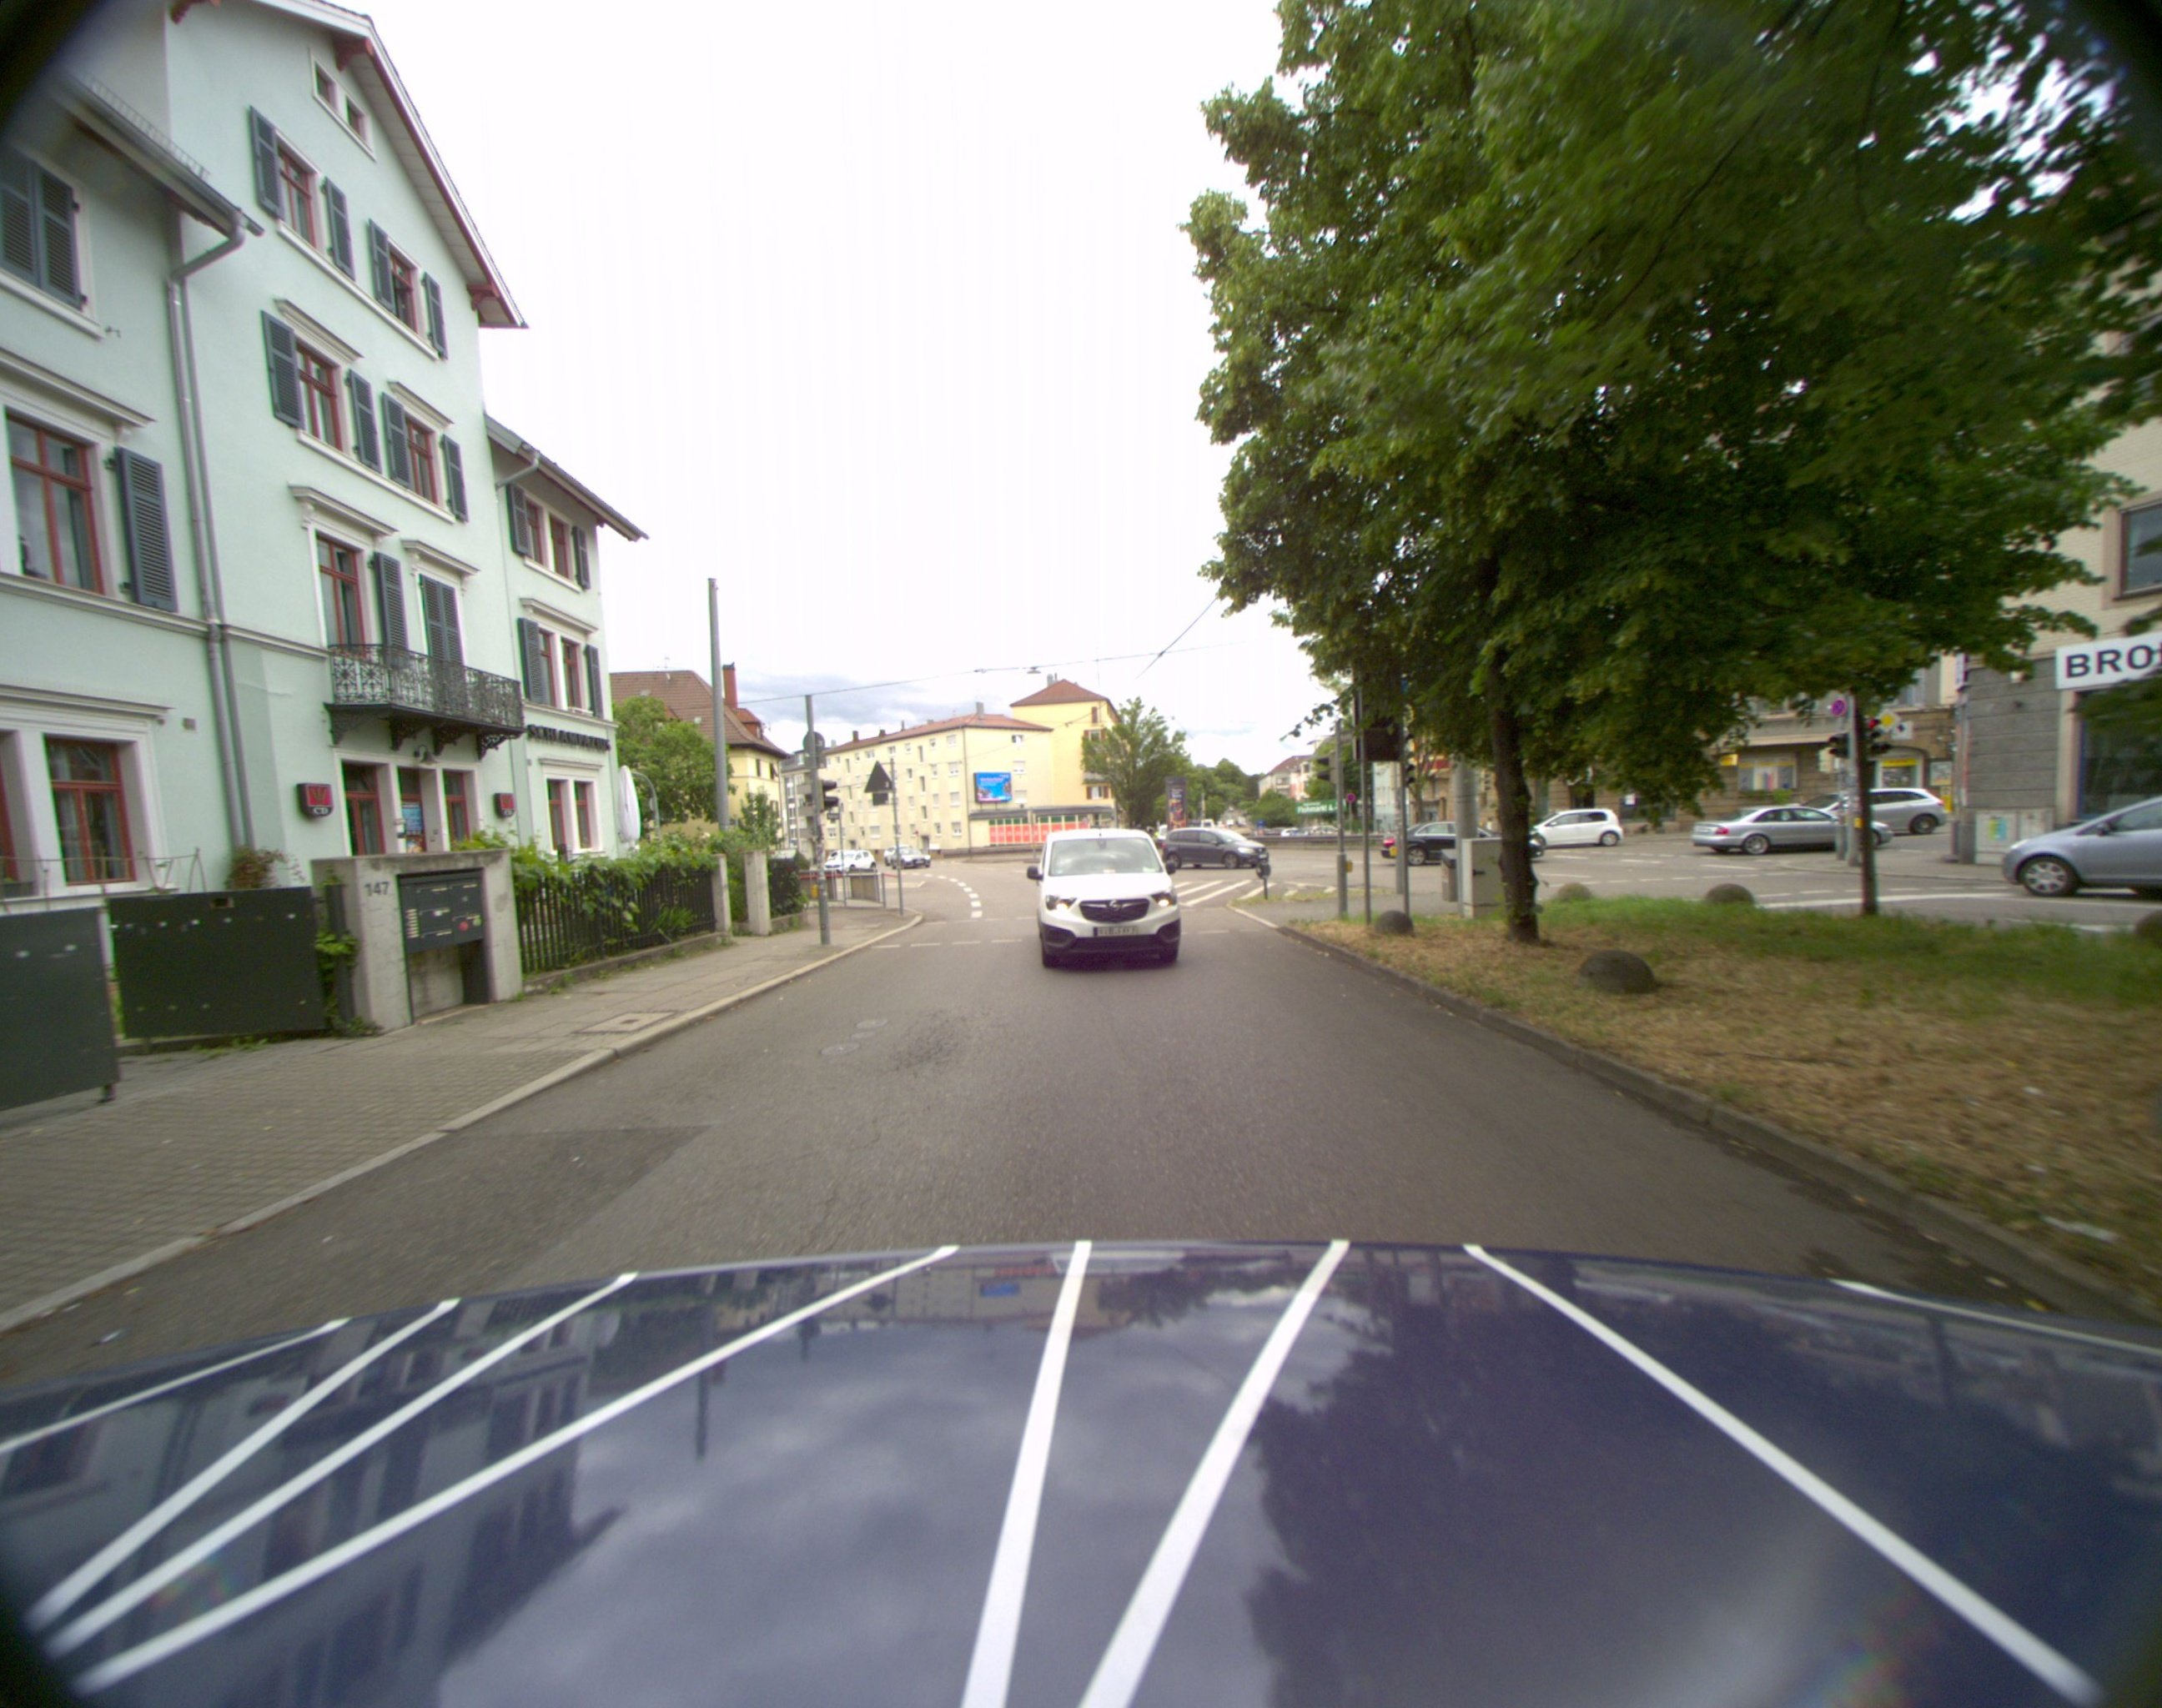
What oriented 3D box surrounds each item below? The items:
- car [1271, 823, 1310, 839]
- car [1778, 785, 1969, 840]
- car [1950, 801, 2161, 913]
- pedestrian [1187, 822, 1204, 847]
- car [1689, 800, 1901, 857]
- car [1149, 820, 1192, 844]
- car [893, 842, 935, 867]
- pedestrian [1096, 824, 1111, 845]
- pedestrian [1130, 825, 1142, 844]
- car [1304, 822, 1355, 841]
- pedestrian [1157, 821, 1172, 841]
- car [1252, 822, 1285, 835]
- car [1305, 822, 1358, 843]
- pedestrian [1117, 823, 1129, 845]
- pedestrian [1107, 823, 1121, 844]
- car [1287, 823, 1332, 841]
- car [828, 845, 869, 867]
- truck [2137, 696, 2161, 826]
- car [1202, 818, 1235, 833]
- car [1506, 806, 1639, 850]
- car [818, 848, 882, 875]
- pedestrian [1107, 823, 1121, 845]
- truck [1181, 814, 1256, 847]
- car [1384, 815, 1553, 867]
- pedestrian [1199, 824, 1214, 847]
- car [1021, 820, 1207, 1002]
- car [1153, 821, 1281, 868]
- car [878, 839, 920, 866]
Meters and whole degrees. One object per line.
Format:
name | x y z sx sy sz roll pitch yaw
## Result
car | 24.189 -2.654 87.753 3.922 1.590 1.896 -1 4 38
car | 25.418 -1.338 24.508 4.048 1.465 1.652 -3 3 11
car | 14.304 0.006 9.592 1.673 1.399 4.293 -2 1 -2
pedestrian | 7.432 -1.243 49.380 0.707 1.575 0.801 -6 4 -33
car | 20.730 -0.769 22.243 4.260 1.335 1.707 -3 4 12
car | 7.251 -1.783 61.055 2.207 1.563 4.482 -2 3 23
car | -11.578 0.026 52.458 2.041 1.542 4.028 -4 1 -23
pedestrian | 1.743 -1.519 58.955 0.773 1.610 0.648 -7 5 -42
pedestrian | 4.854 -1.754 67.368 0.867 1.610 0.919 -3 4 14
car | 22.812 -2.070 69.781 1.896 1.590 3.922 -7 4 -44
pedestrian | 8.289 -2.282 75.661 0.930 1.948 1.265 -5 4 -23
car | 25.397 -3.428 102.938 3.922 1.590 1.896 -1 4 38
car | 21.881 -1.858 66.494 1.896 1.590 3.922 -7 4 -44
pedestrian | 3.199 -1.541 57.693 0.607 1.610 0.553 -6 4 -34
pedestrian | 2.566 -1.619 59.912 0.773 1.610 0.648 -6 4 -37
car | 23.655 -2.274 78.719 3.922 1.590 1.896 -1 4 38
car | -18.531 0.146 60.407 1.957 1.542 4.026 -4 1 -34
truck | 33.773 -2.720 19.350 8.502 3.556 2.711 -3 3 10
car | 18.939 -3.930 104.785 3.936 1.696 1.889 -5 4 -22
car | 18.867 -0.995 29.355 3.954 1.422 1.797 -2 3 19
car | -14.064 0.429 46.507 1.906 1.471 3.890 -3 1 14
pedestrian | 2.525 -1.536 58.374 0.770 1.610 0.651 -1 4 32
truck | 12.352 -2.142 68.167 6.466 2.707 2.765 -3 1 -33
car | 12.558 -0.422 24.850 4.727 1.412 1.844 -2 4 27
pedestrian | 7.939 -1.186 48.055 0.606 1.425 0.600 -6 4 -32
car | 0.271 0.590 10.350 1.858 1.798 4.728 -3 0 -2
car | 5.375 -0.349 30.478 1.861 1.606 4.716 -8 4 -45
car | -14.984 -0.184 62.382 2.003 2.003 4.258 -6 4 -32
